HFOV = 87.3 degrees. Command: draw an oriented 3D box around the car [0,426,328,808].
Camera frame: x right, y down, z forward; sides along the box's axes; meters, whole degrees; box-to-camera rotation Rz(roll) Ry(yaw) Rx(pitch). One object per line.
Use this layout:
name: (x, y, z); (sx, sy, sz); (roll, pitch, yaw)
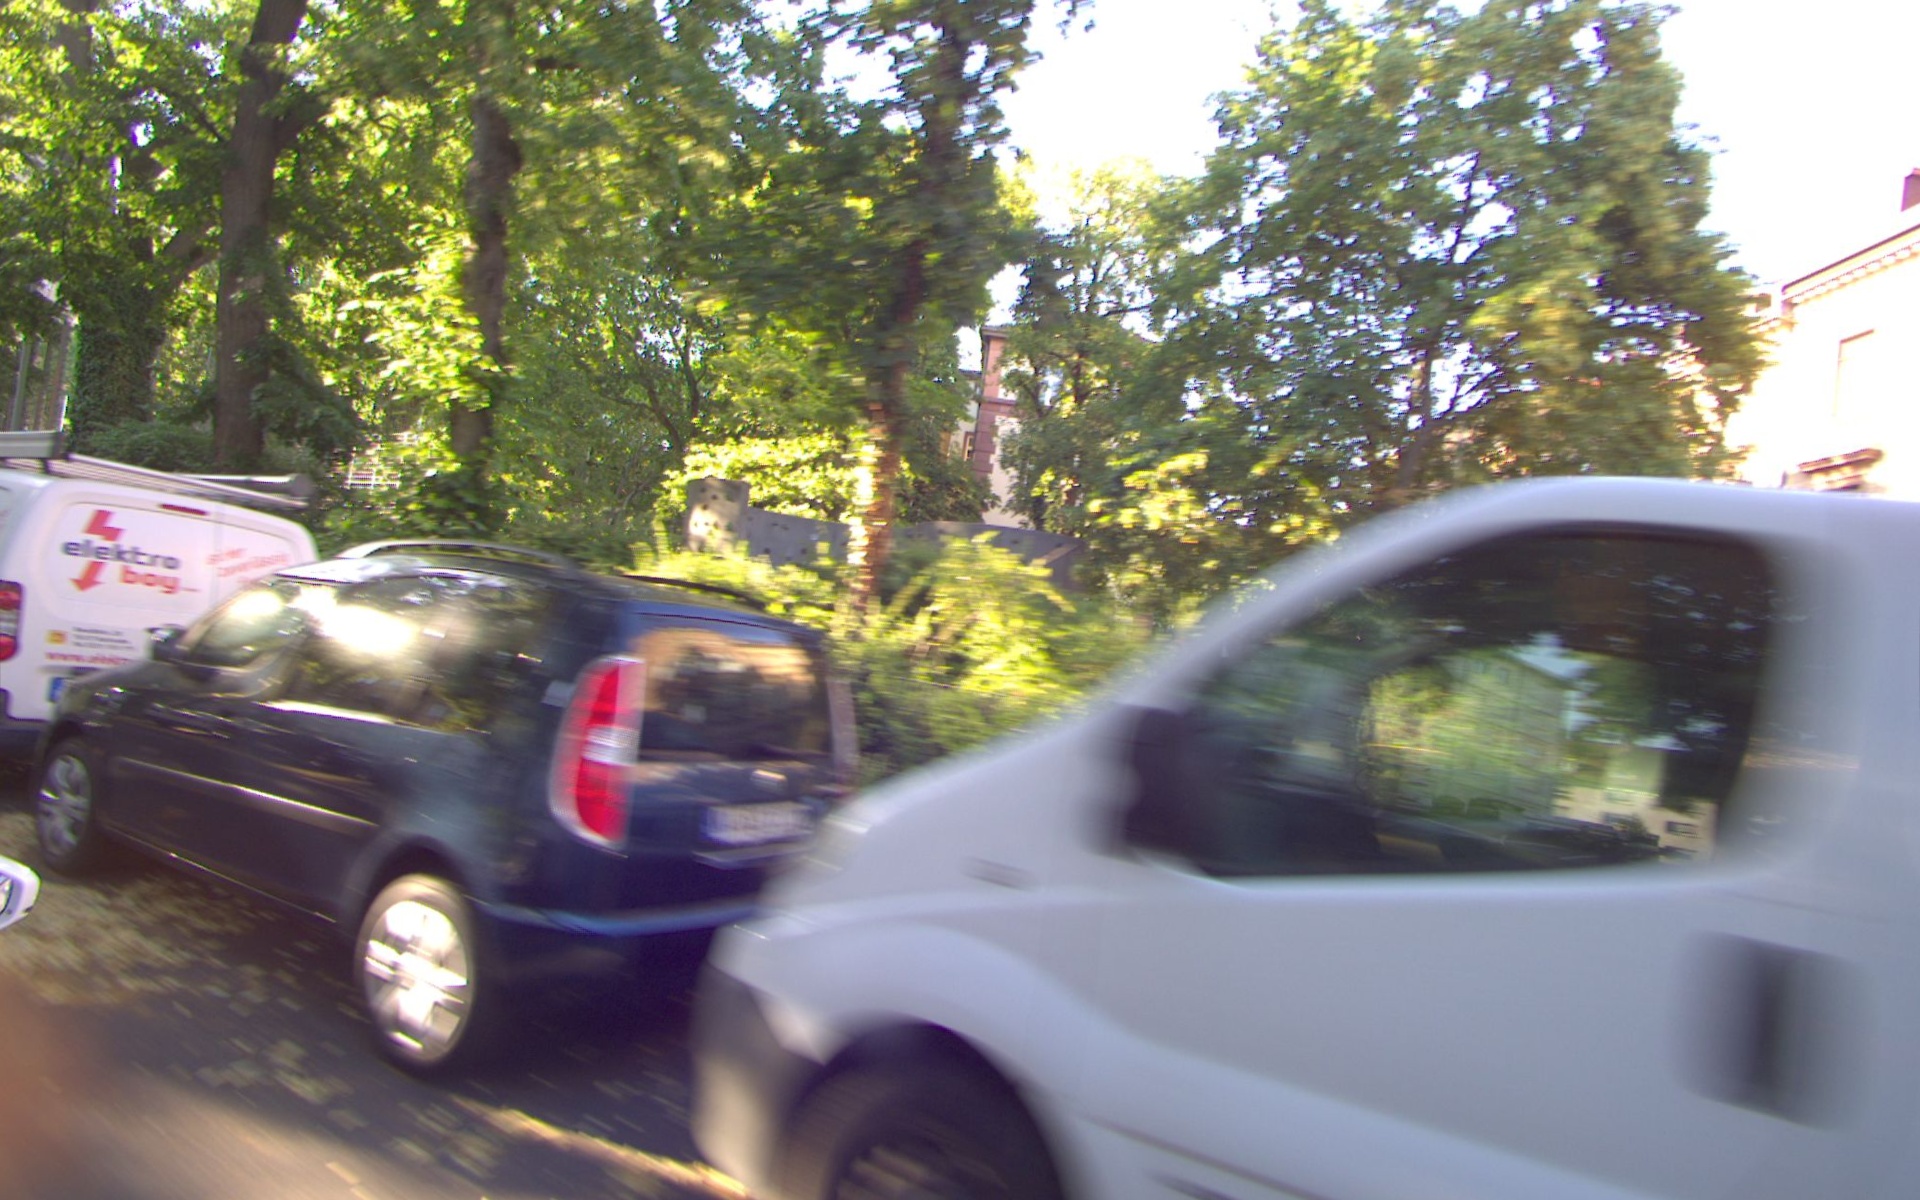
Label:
car: (-6.124, -0.012, 6.681); (3.838, 1.925, 1.574); (7, -2, 32)

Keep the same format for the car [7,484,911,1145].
car: (-2.260, 0.565, 4.356); (3.648, 1.656, 1.575); (7, -2, 30)

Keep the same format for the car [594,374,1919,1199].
car: (1.721, 0.819, 2.129); (4.578, 2.026, 1.950); (7, -2, 28)

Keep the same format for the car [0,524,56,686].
car: (-10.198, -0.173, 9.417); (3.541, 1.401, 1.574); (7, -2, 32)
